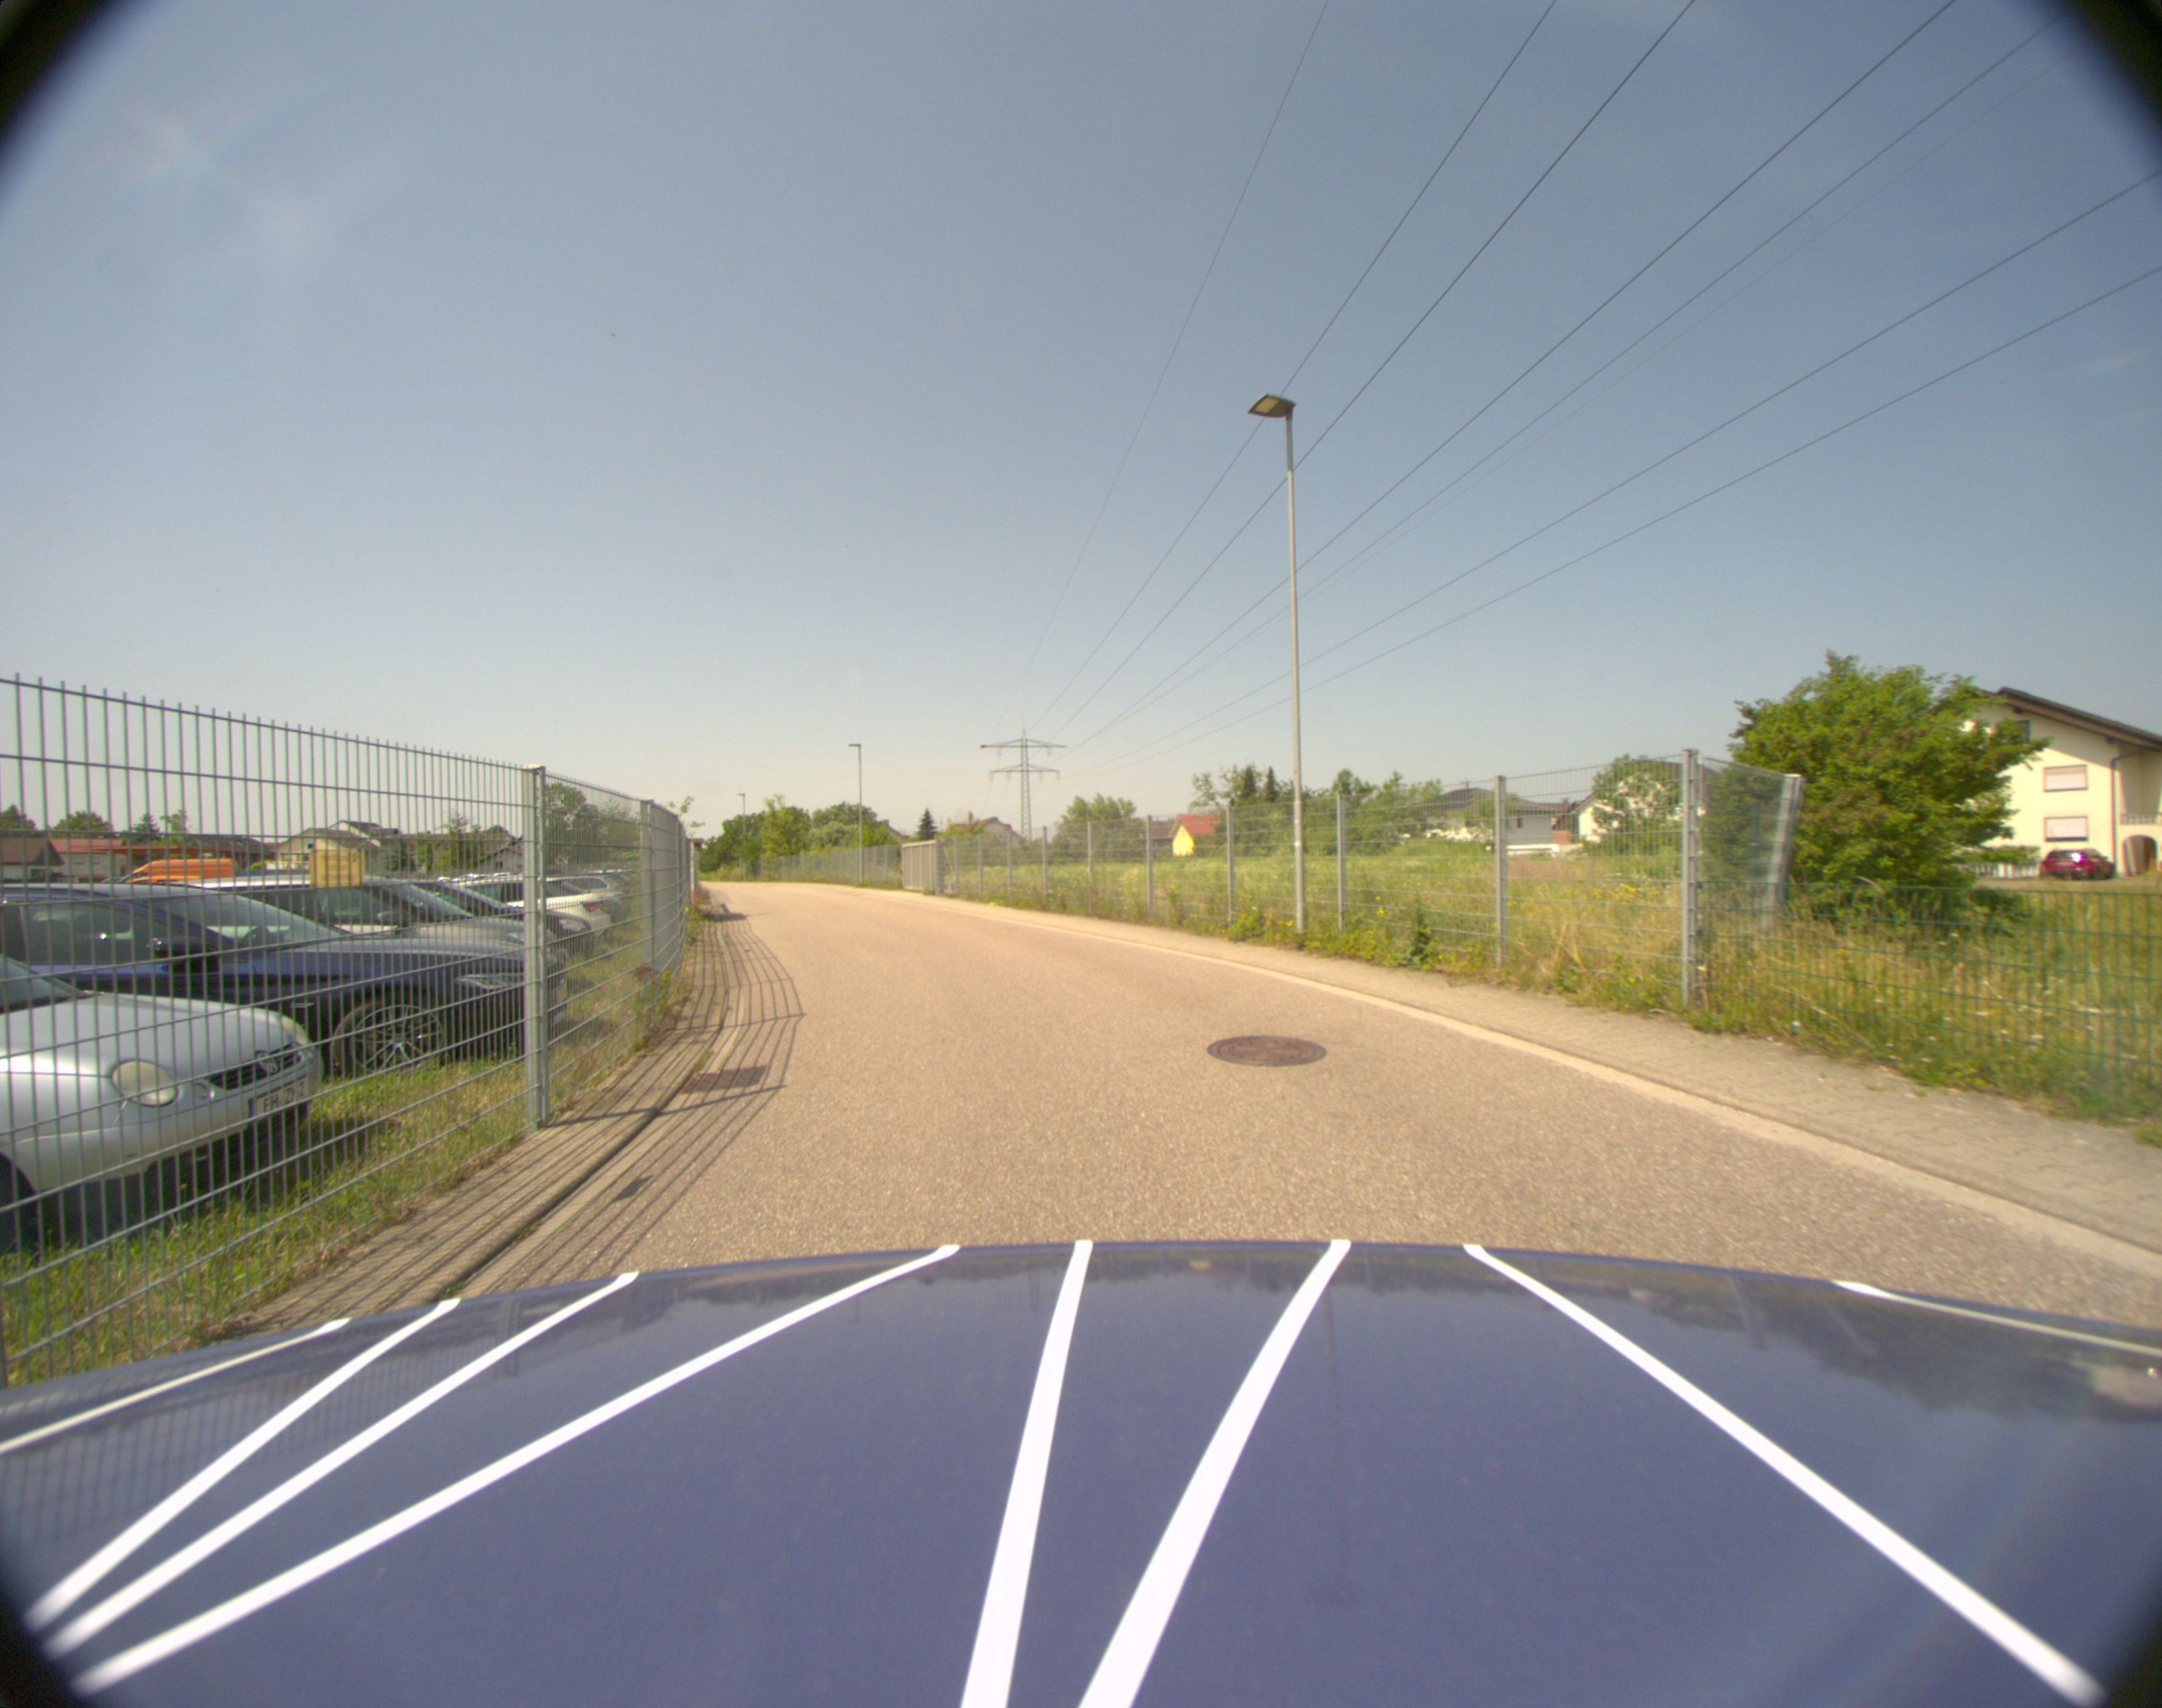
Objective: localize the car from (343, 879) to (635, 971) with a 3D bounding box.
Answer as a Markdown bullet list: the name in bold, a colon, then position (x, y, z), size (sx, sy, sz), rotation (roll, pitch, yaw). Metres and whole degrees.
- **car**: position (-11.146, 1.273, 14.745), size (4.203, 1.346, 1.719), rotation (-2, 1, -29)

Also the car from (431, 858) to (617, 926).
- **car**: position (-12.725, 0.825, 17.611), size (3.283, 1.346, 1.524), rotation (-2, 1, -30)

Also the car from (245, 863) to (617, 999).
- **car**: position (-8.750, 0.940, 10.711), size (3.666, 1.469, 1.747), rotation (-1, 2, -29)

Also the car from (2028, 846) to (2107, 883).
- **car**: position (51.321, 0.515, 39.528), size (4.141, 1.718, 1.862), rotation (-2, 1, -28)

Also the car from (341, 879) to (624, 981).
- **car**: position (-9.903, 1.193, 12.946), size (3.540, 1.381, 1.633), rotation (-1, 0, -28)

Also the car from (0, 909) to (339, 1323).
- **car**: position (-5.598, 1.064, 2.963), size (3.479, 1.414, 1.633), rotation (-1, 1, -25)

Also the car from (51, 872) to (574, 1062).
- **car**: position (-7.676, 1.010, 8.142), size (3.555, 1.493, 1.707), rotation (-2, 1, -29)

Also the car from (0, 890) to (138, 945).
- **car**: position (-29.974, 1.807, 21.067), size (4.532, 1.343, 1.622), rotation (-2, 1, -41)

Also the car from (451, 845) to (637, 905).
- **car**: position (-13.678, 0.499, 19.630), size (3.680, 1.346, 1.736), rotation (-2, 1, -28)

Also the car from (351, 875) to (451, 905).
- **car**: position (-35.304, 1.839, 39.538), size (3.781, 1.428, 1.607), rotation (0, -1, -42)

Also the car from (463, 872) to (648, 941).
- **car**: position (-14.992, 1.443, 21.982), size (4.182, 1.466, 1.634), rotation (-5, 2, -30)

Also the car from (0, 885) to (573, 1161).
- **car**: position (-6.505, 1.072, 5.393), size (4.557, 1.466, 1.821), rotation (-1, 1, -25)

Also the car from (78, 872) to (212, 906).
- **car**: position (-44.970, 1.654, 36.642), size (3.837, 1.453, 1.585), rotation (0, -1, -42)

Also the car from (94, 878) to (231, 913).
- **car**: position (-42.470, 1.889, 35.263), size (3.837, 1.453, 1.585), rotation (0, -1, -42)

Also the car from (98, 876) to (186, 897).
- **car**: position (-70.655, 2.422, 57.255), size (3.976, 1.476, 1.748), rotation (0, -1, -44)

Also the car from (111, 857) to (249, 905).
- **car**: position (-50.714, 1.475, 42.937), size (4.756, 2.569, 1.975), rotation (0, -1, -42)

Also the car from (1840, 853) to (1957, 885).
- **car**: position (45.350, 0.792, 42.252), size (1.868, 1.674, 4.077), rotation (-1, 0, -28)
